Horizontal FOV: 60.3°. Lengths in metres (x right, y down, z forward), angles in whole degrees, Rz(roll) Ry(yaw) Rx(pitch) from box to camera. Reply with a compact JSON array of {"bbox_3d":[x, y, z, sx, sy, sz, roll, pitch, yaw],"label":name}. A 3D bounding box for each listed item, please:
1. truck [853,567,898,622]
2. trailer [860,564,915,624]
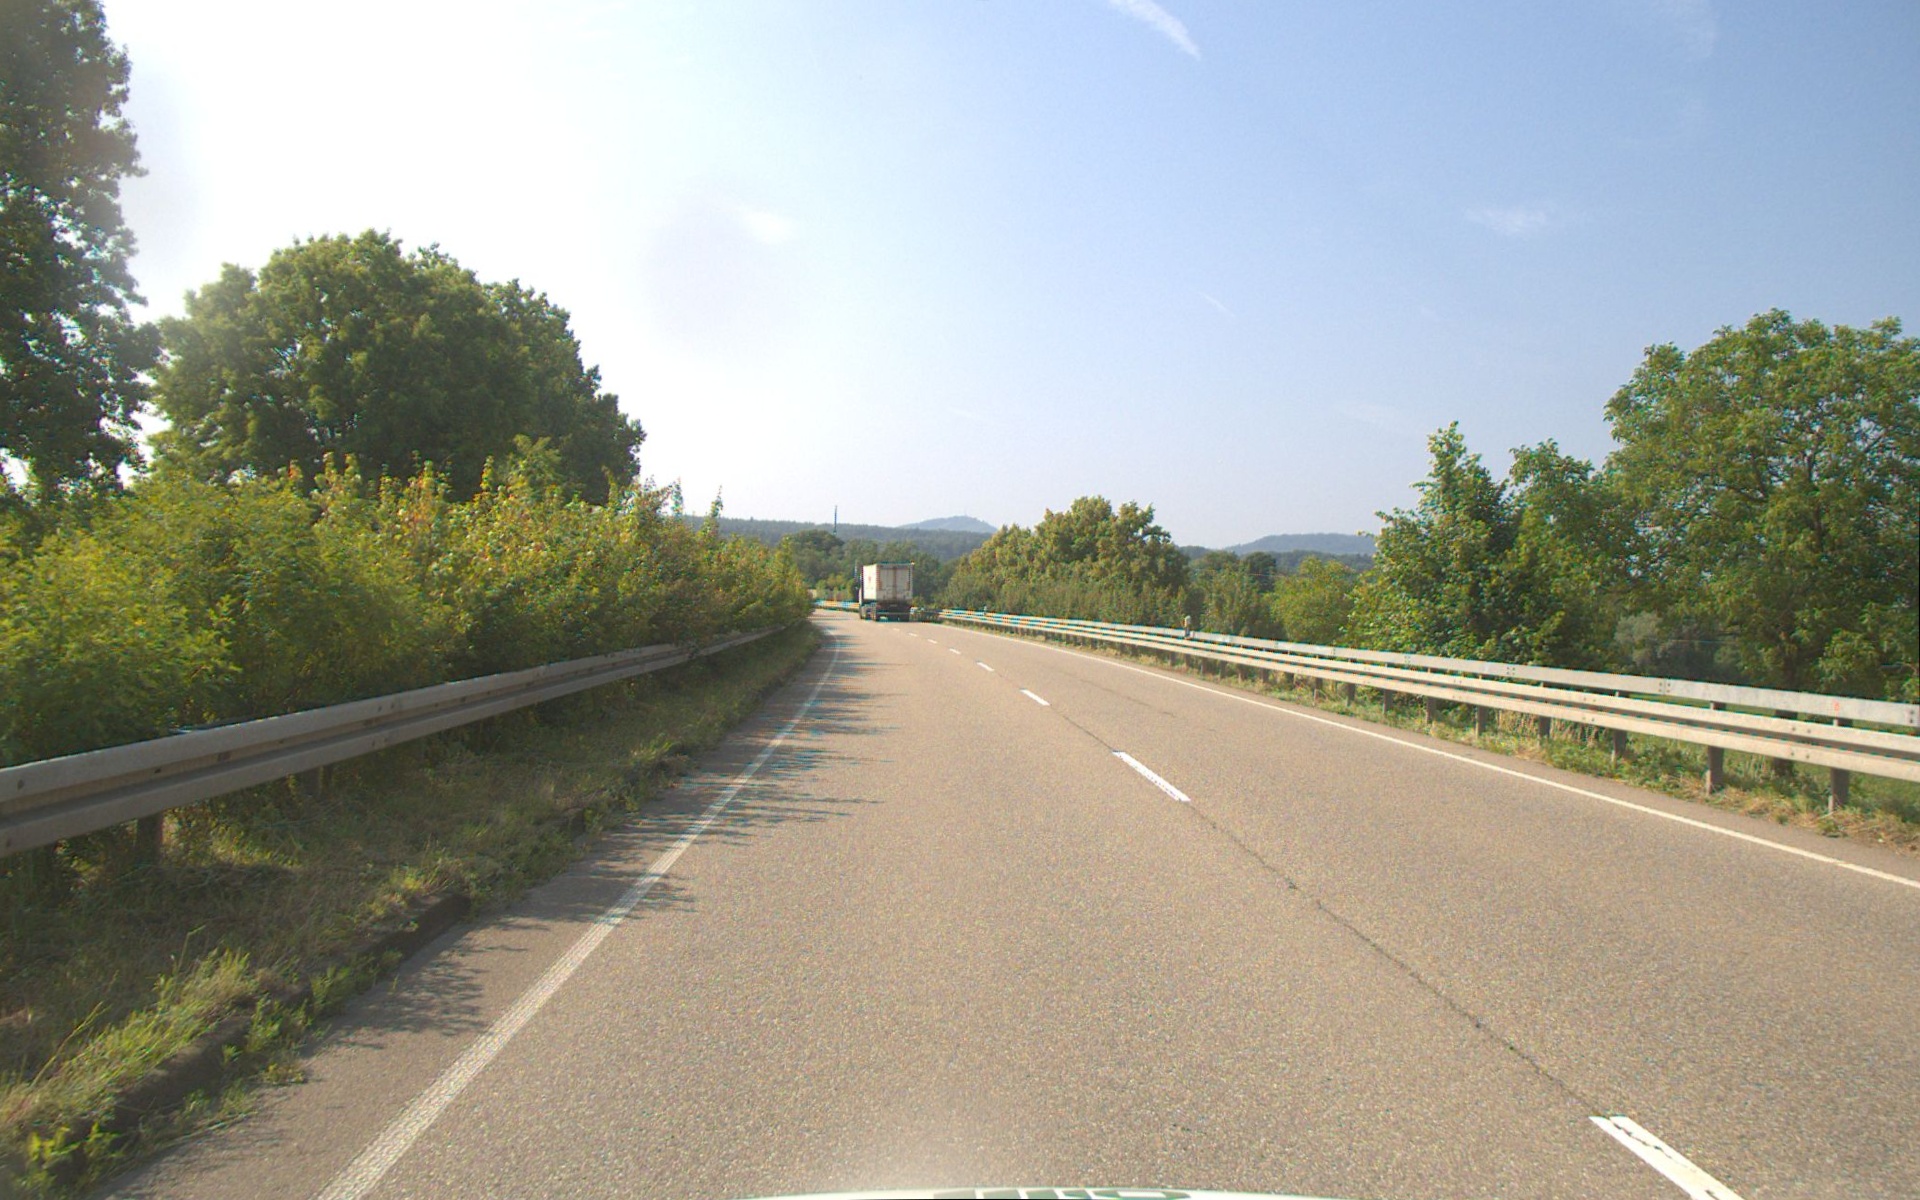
[{"bbox_3d":[-6.274,-0.419,122.184,2.611,3.964,5.633,1,0,-11],"label":"truck"},{"bbox_3d":[-5.162,-0.405,116.067,2.631,3.975,9.648,1,0,-10],"label":"trailer"}]
